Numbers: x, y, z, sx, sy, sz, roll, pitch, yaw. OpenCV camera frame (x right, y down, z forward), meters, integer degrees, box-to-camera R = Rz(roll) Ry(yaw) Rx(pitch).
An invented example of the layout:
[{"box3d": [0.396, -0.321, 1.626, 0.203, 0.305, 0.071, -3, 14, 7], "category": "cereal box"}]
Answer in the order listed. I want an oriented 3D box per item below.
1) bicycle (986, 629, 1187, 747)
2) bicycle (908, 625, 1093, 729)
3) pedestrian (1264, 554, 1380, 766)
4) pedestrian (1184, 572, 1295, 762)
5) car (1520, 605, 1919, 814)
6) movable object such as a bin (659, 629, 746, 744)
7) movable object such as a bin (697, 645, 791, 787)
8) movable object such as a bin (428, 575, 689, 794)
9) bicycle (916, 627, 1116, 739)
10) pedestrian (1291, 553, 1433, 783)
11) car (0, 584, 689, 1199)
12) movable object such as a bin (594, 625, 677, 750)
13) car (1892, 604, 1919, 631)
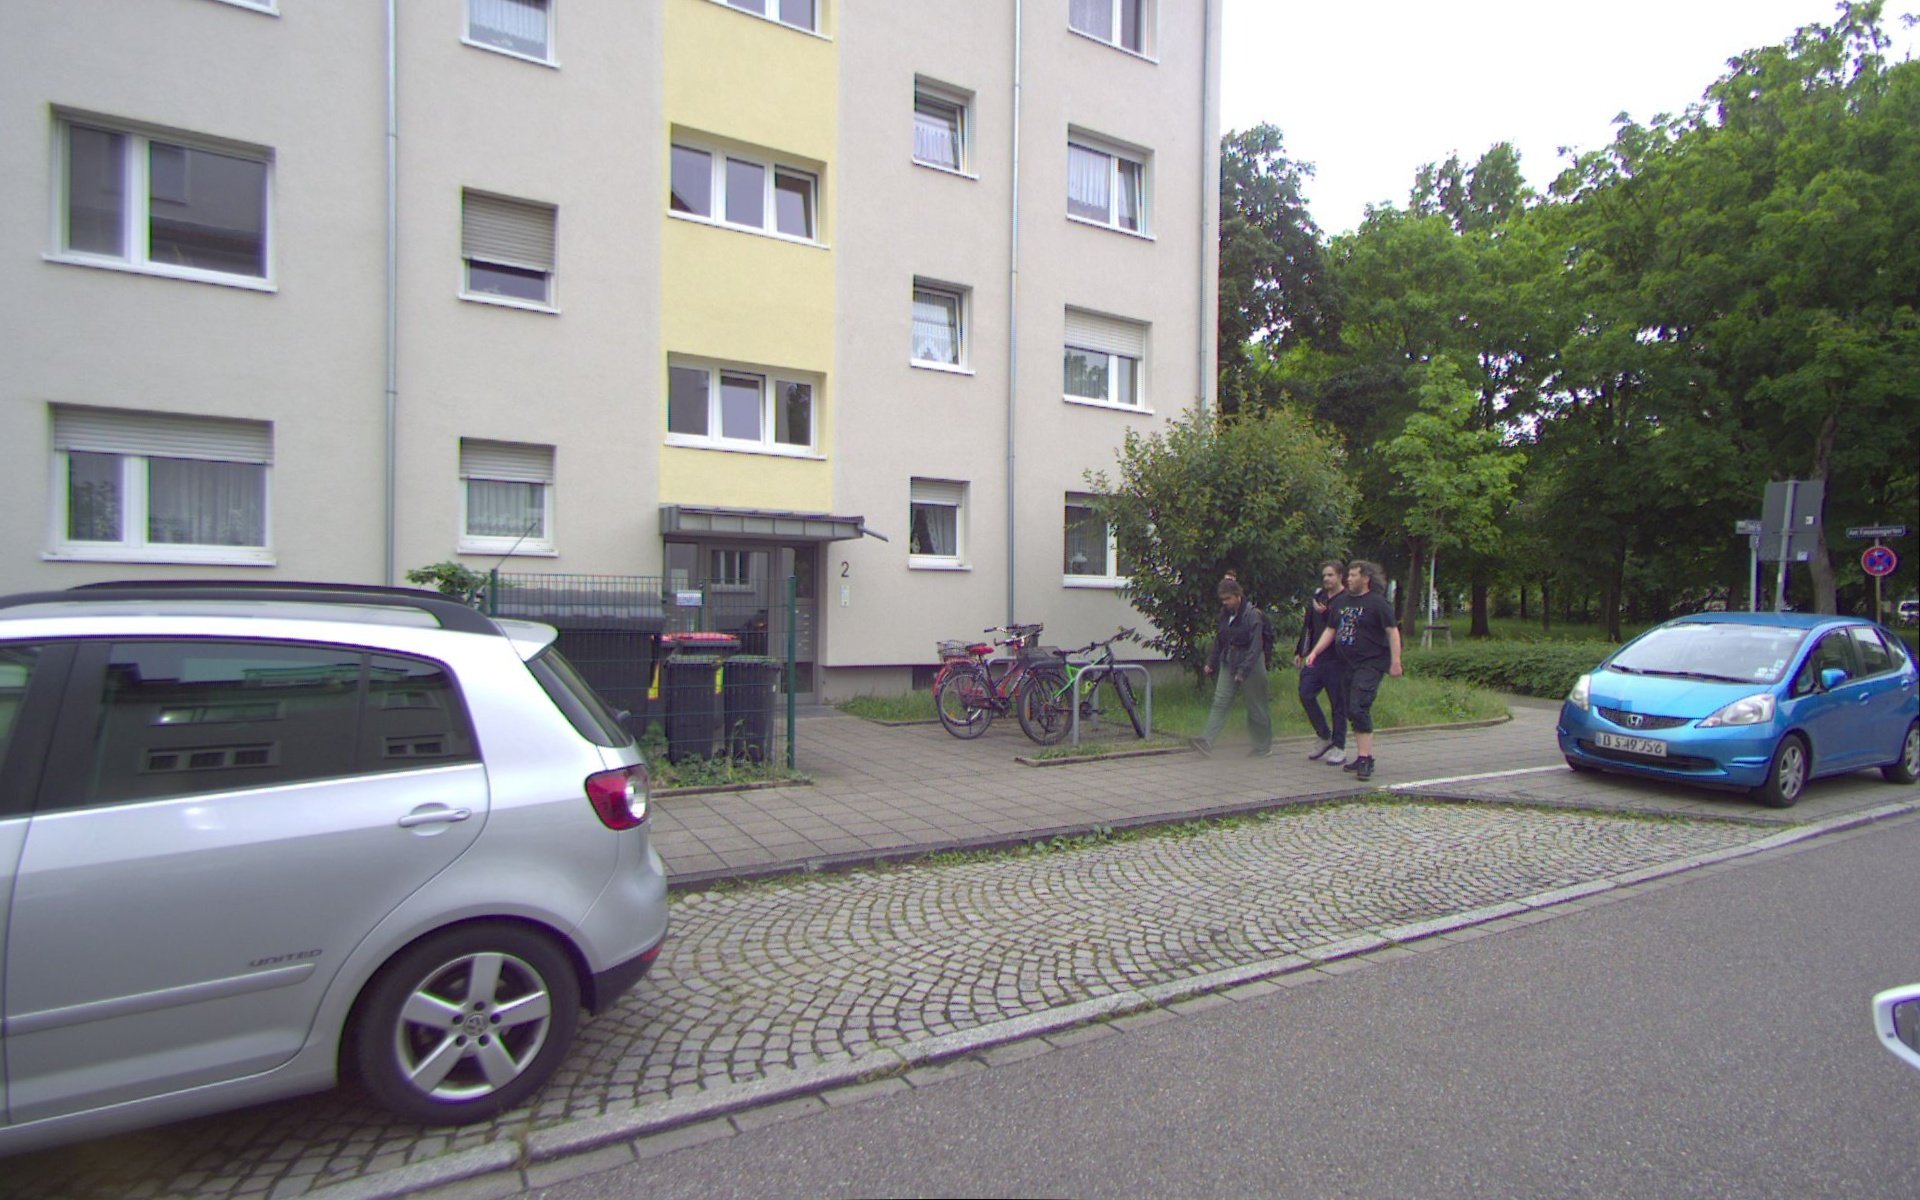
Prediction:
[{"box3d": [1.329, 0.859, 10.361, 2.096, 1.082, 0.654, 0, 0, -30], "category": "bicycle"}, {"box3d": [0.496, 0.854, 11.699, 2.149, 1.085, 0.654, 0, 0, -30], "category": "bicycle"}, {"box3d": [3.386, 0.534, 9.407, 0.754, 1.879, 0.703, 0, 0, -30], "category": "pedestrian"}, {"box3d": [2.602, 0.599, 9.363, 0.794, 1.679, 0.611, 0, 0, -30], "category": "pedestrian"}, {"box3d": [7.146, 0.837, 9.233, 3.910, 1.482, 1.722, 0, 2, -31], "category": "car"}, {"box3d": [-2.591, 0.840, 10.074, 0.626, 1.065, 0.859, 0, 0, -31], "category": "movable object such as a bin"}, {"box3d": [-1.727, 0.899, 8.018, 0.591, 1.047, 0.534, 0, 0, -31], "category": "movable object such as a bin"}, {"box3d": [-3.125, 0.557, 7.732, 1.652, 1.440, 1.581, 0, 0, -31], "category": "movable object such as a bin"}, {"box3d": [0.629, 0.849, 10.831, 2.149, 1.085, 0.654, 0, 0, -30], "category": "bicycle"}, {"box3d": [3.499, 0.555, 8.752, 0.963, 1.889, 0.637, 0, 2, -30], "category": "pedestrian"}, {"box3d": [-2.994, 0.741, 3.149, 3.869, 1.571, 1.646, 0, 1, -30], "category": "car"}, {"box3d": [-3.170, 0.822, 9.784, 0.591, 1.131, 0.837, 0, 0, -32], "category": "movable object such as a bin"}, {"box3d": [59.696, 1.102, 62.303, 3.958, 1.639, 1.906, 1, 0, -34], "category": "car"}]
